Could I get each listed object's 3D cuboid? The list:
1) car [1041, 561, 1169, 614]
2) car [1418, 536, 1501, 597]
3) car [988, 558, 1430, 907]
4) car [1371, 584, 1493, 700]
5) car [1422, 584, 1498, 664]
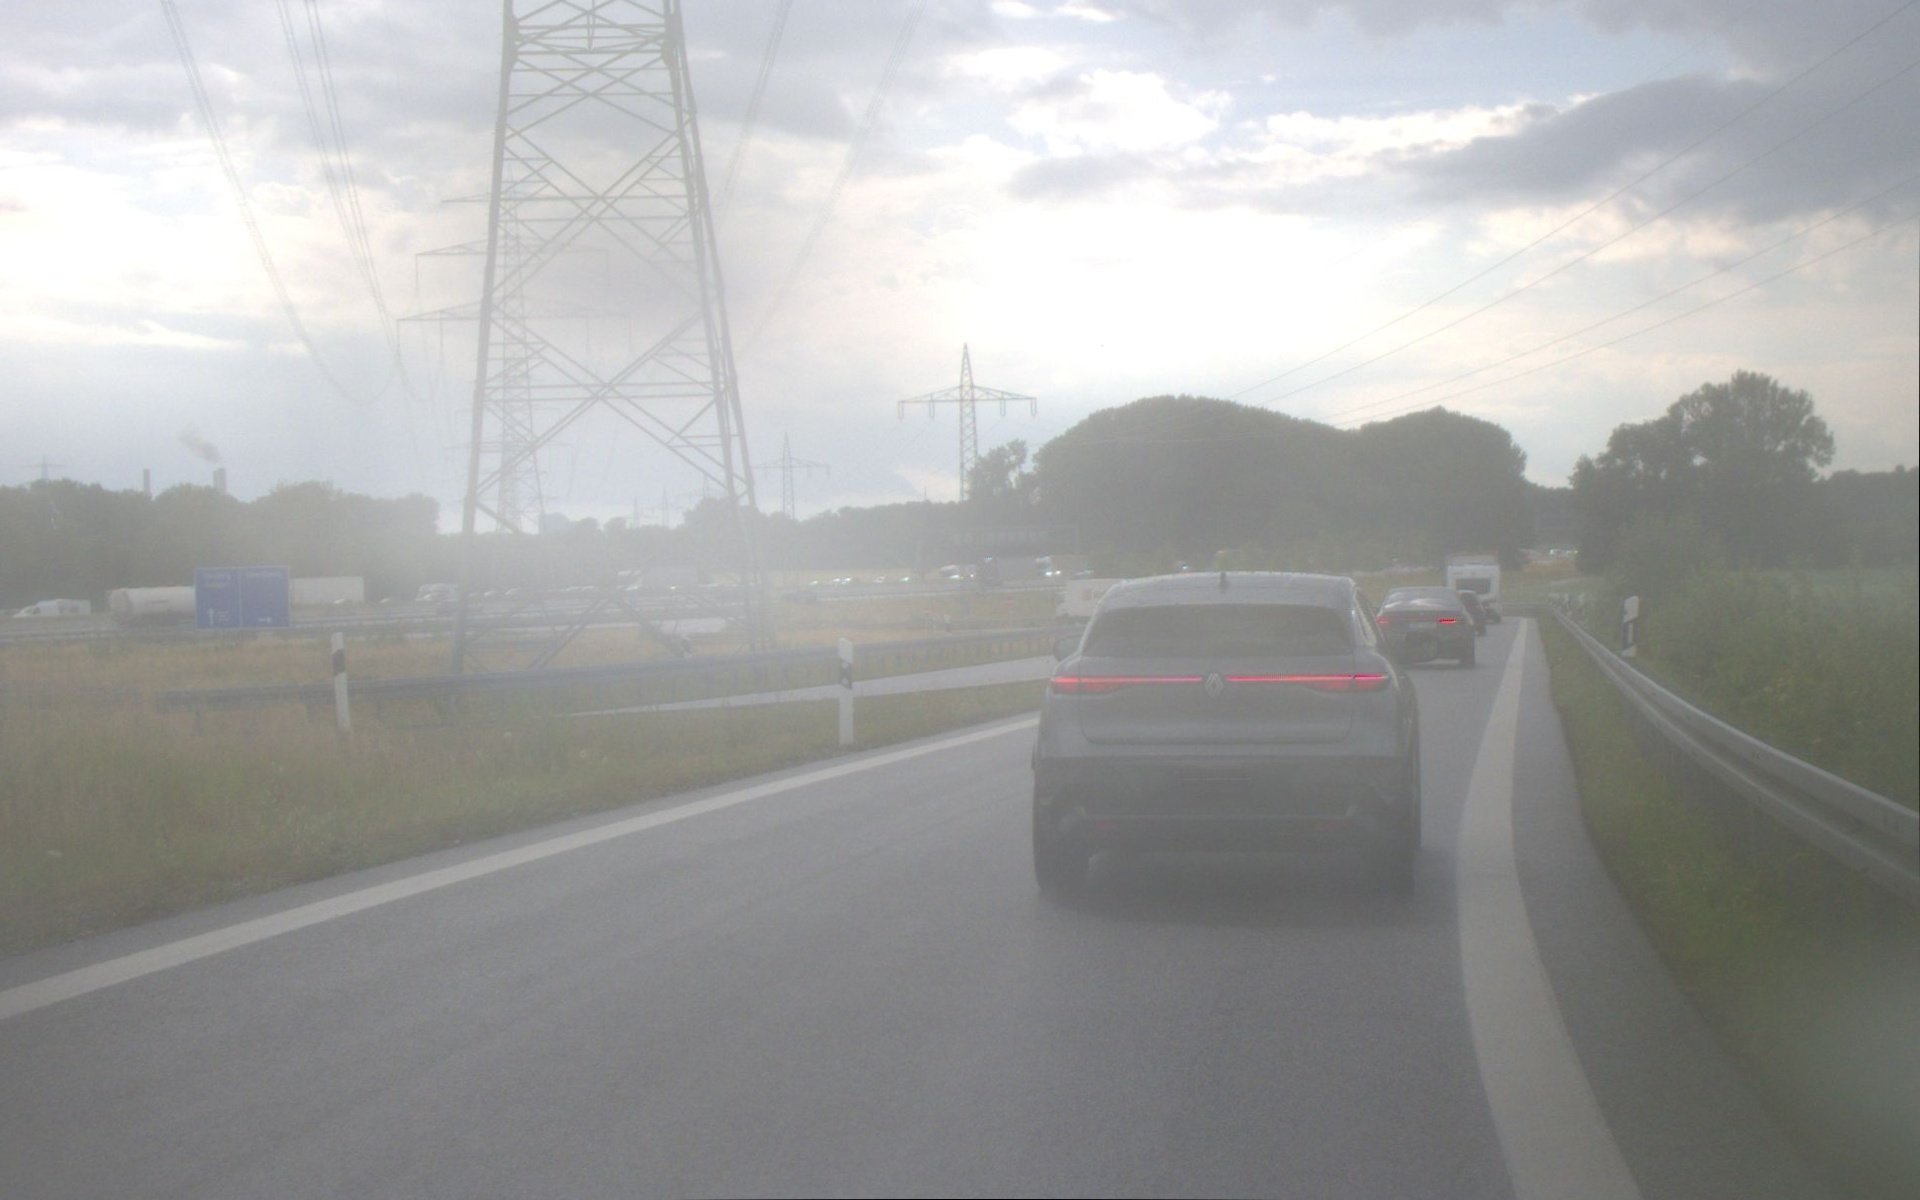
[{"bbox_3d":[10.350,-0.891,246.224,9.038,3.598,3.386,-1,0,43],"label":"car"},{"bbox_3d":[26.619,-1.840,183.544,3.135,2.941,7.210,-2,2,-2],"label":"car"},{"bbox_3d":[1.340,0.571,17.714,1.994,1.561,4.148,1,1,6],"label":"car"},{"bbox_3d":[8.847,0.749,64.818,2.121,2.011,5.533,-2,0,7],"label":"car"},{"bbox_3d":[16.340,0.756,112.124,2.352,2.299,5.127,-1,2,9],"label":"car"}]
